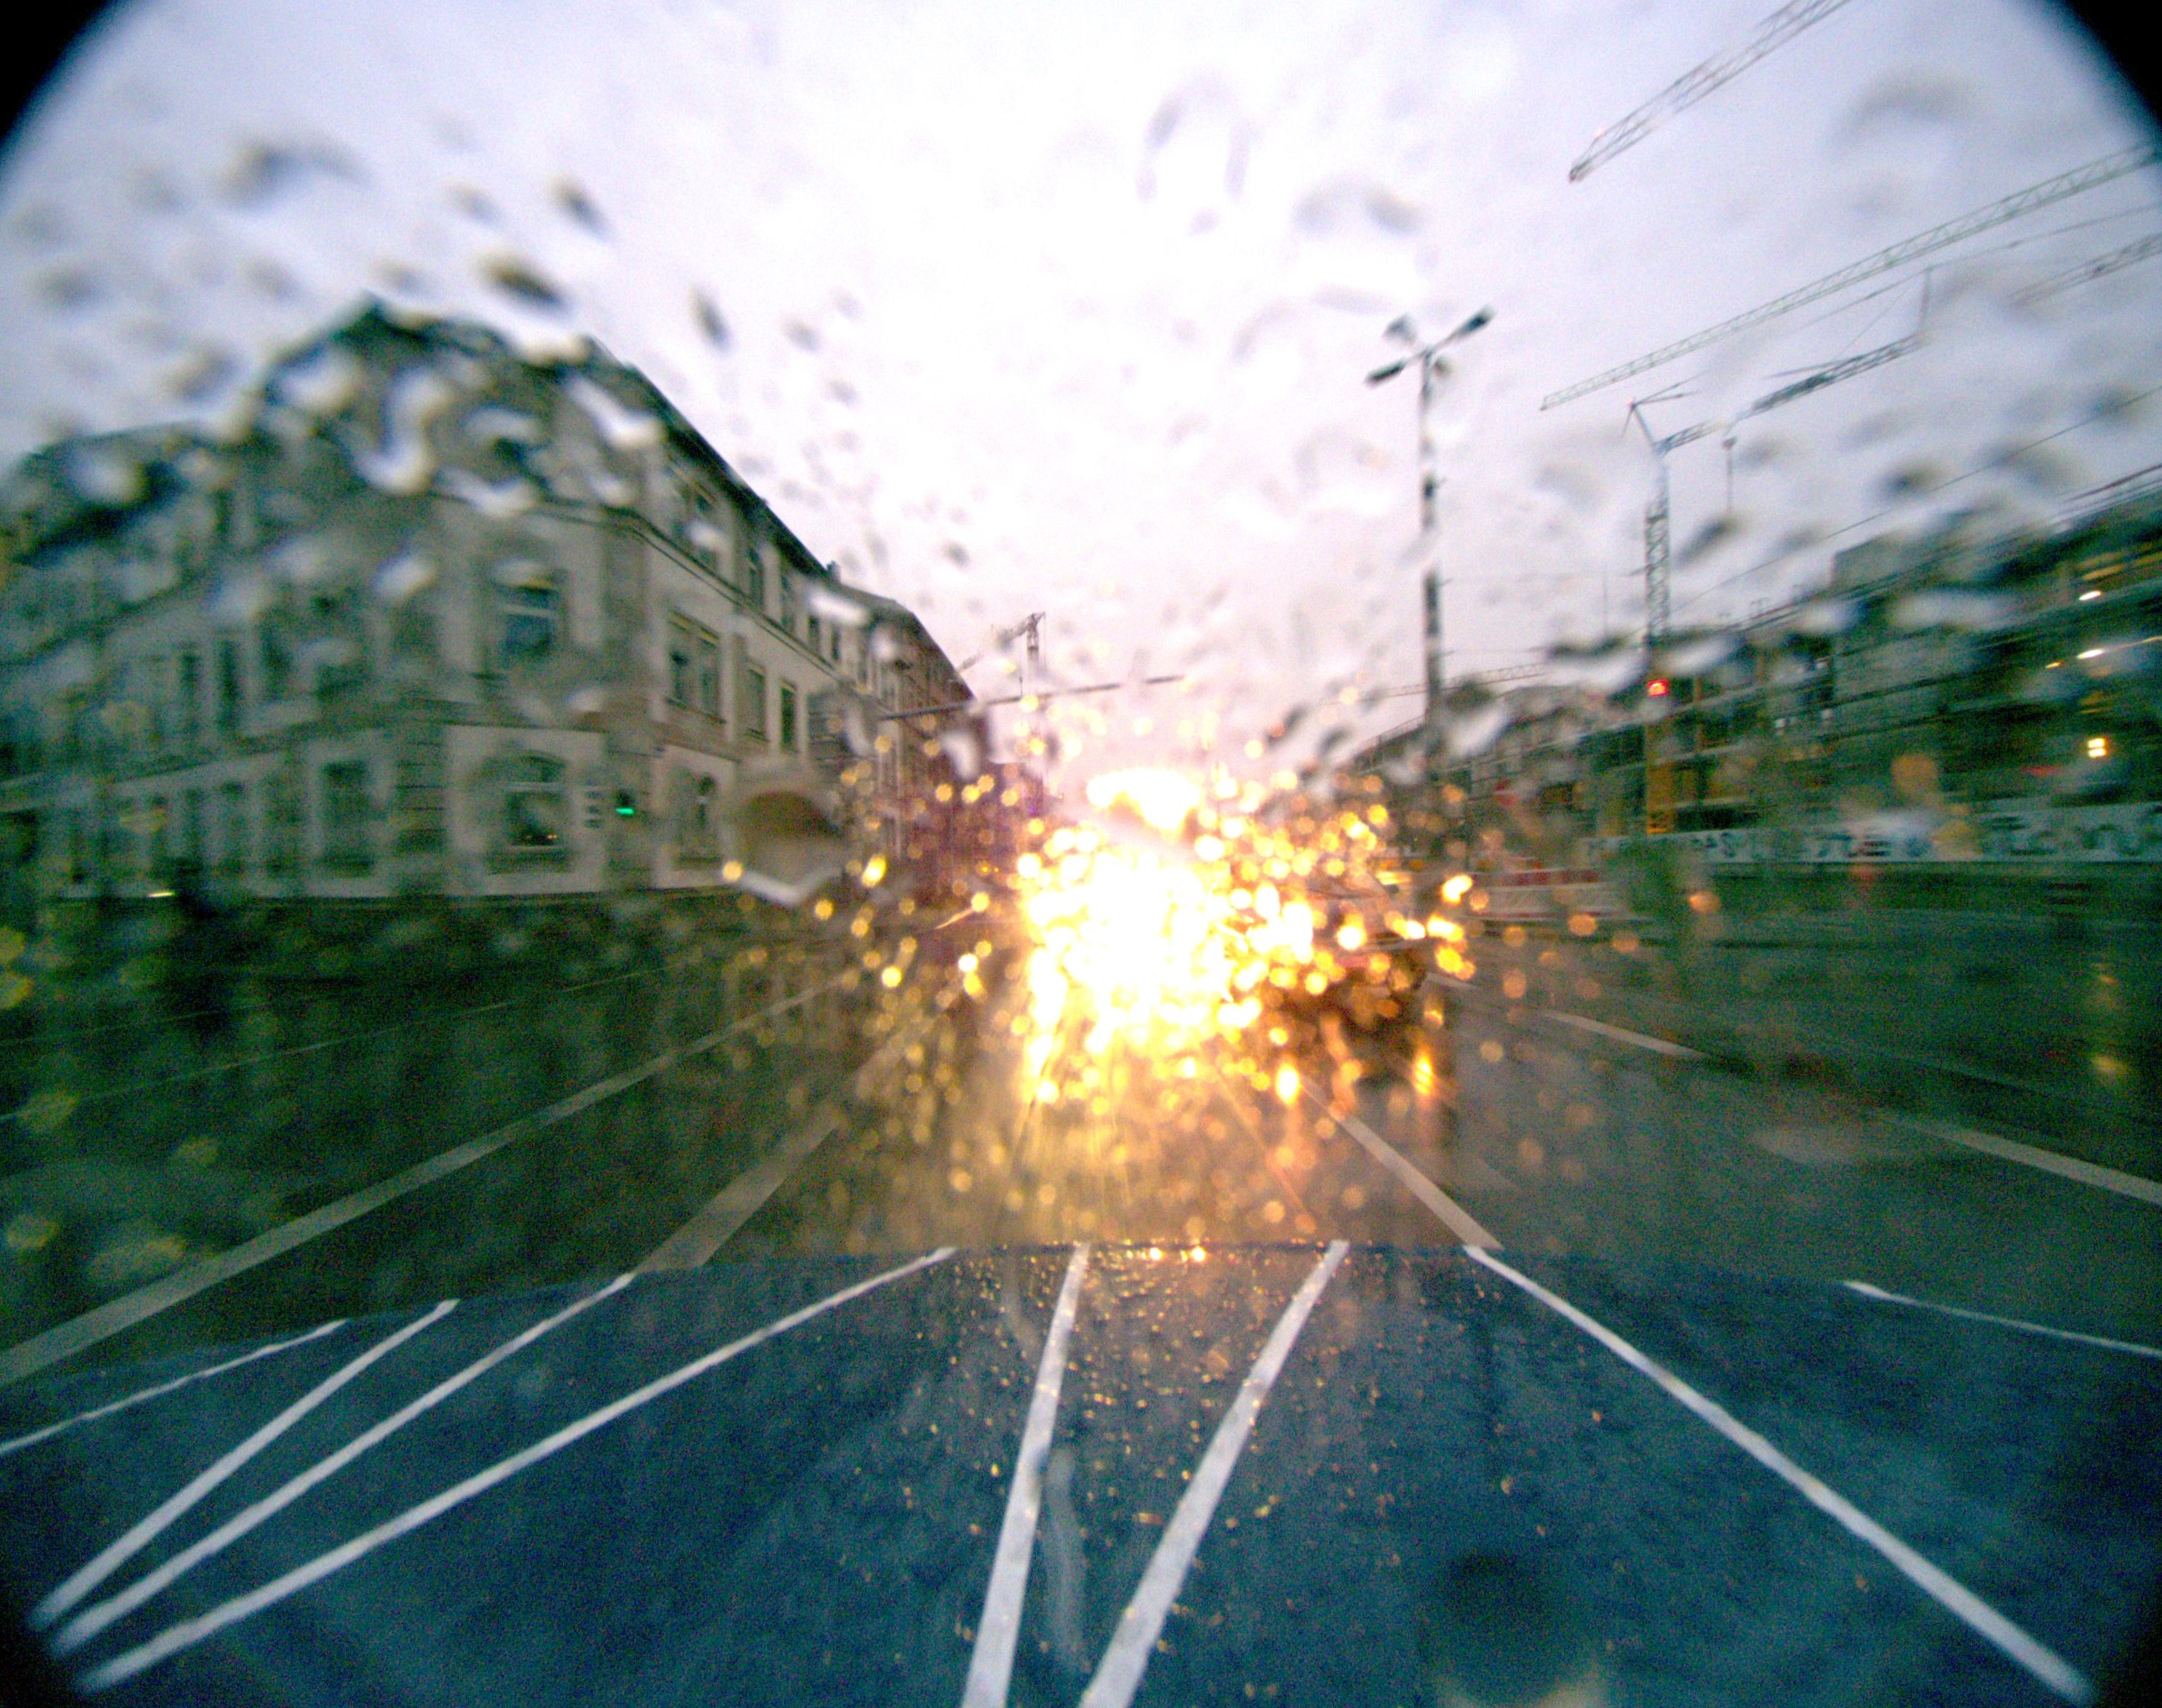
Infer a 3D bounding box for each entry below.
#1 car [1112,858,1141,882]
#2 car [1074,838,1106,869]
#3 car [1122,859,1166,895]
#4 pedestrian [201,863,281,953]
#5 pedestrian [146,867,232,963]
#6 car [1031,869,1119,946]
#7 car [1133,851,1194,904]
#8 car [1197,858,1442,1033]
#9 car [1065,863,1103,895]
[{"bbox_3d":[3.267,1.149,55.385,1.844,1.547,4.000,-3,0,0],"label":"car"},{"bbox_3d":[0.550,-0.044,49.694,1.858,1.886,3.999,-3,0,-1],"label":"car"},{"bbox_3d":[3.228,1.157,39.780,1.844,1.644,4.324,-3,0,0],"label":"car"},{"bbox_3d":[-19.115,1.213,17.305,0.976,1.969,0.869,-2,1,23],"label":"pedestrian"},{"bbox_3d":[-19.086,1.287,16.267,0.976,1.969,0.869,-2,1,23],"label":"pedestrian"},{"bbox_3d":[-0.149,1.143,17.721,1.764,1.443,3.999,-3,0,-1],"label":"car"},{"bbox_3d":[2.936,0.798,27.846,1.858,1.723,4.000,-3,0,2],"label":"car"},{"bbox_3d":[2.605,0.899,9.340,1.764,1.584,4.000,-3,0,1],"label":"car"},{"bbox_3d":[0.130,1.229,38.790,1.764,1.443,3.999,-3,0,-1],"label":"car"}]
